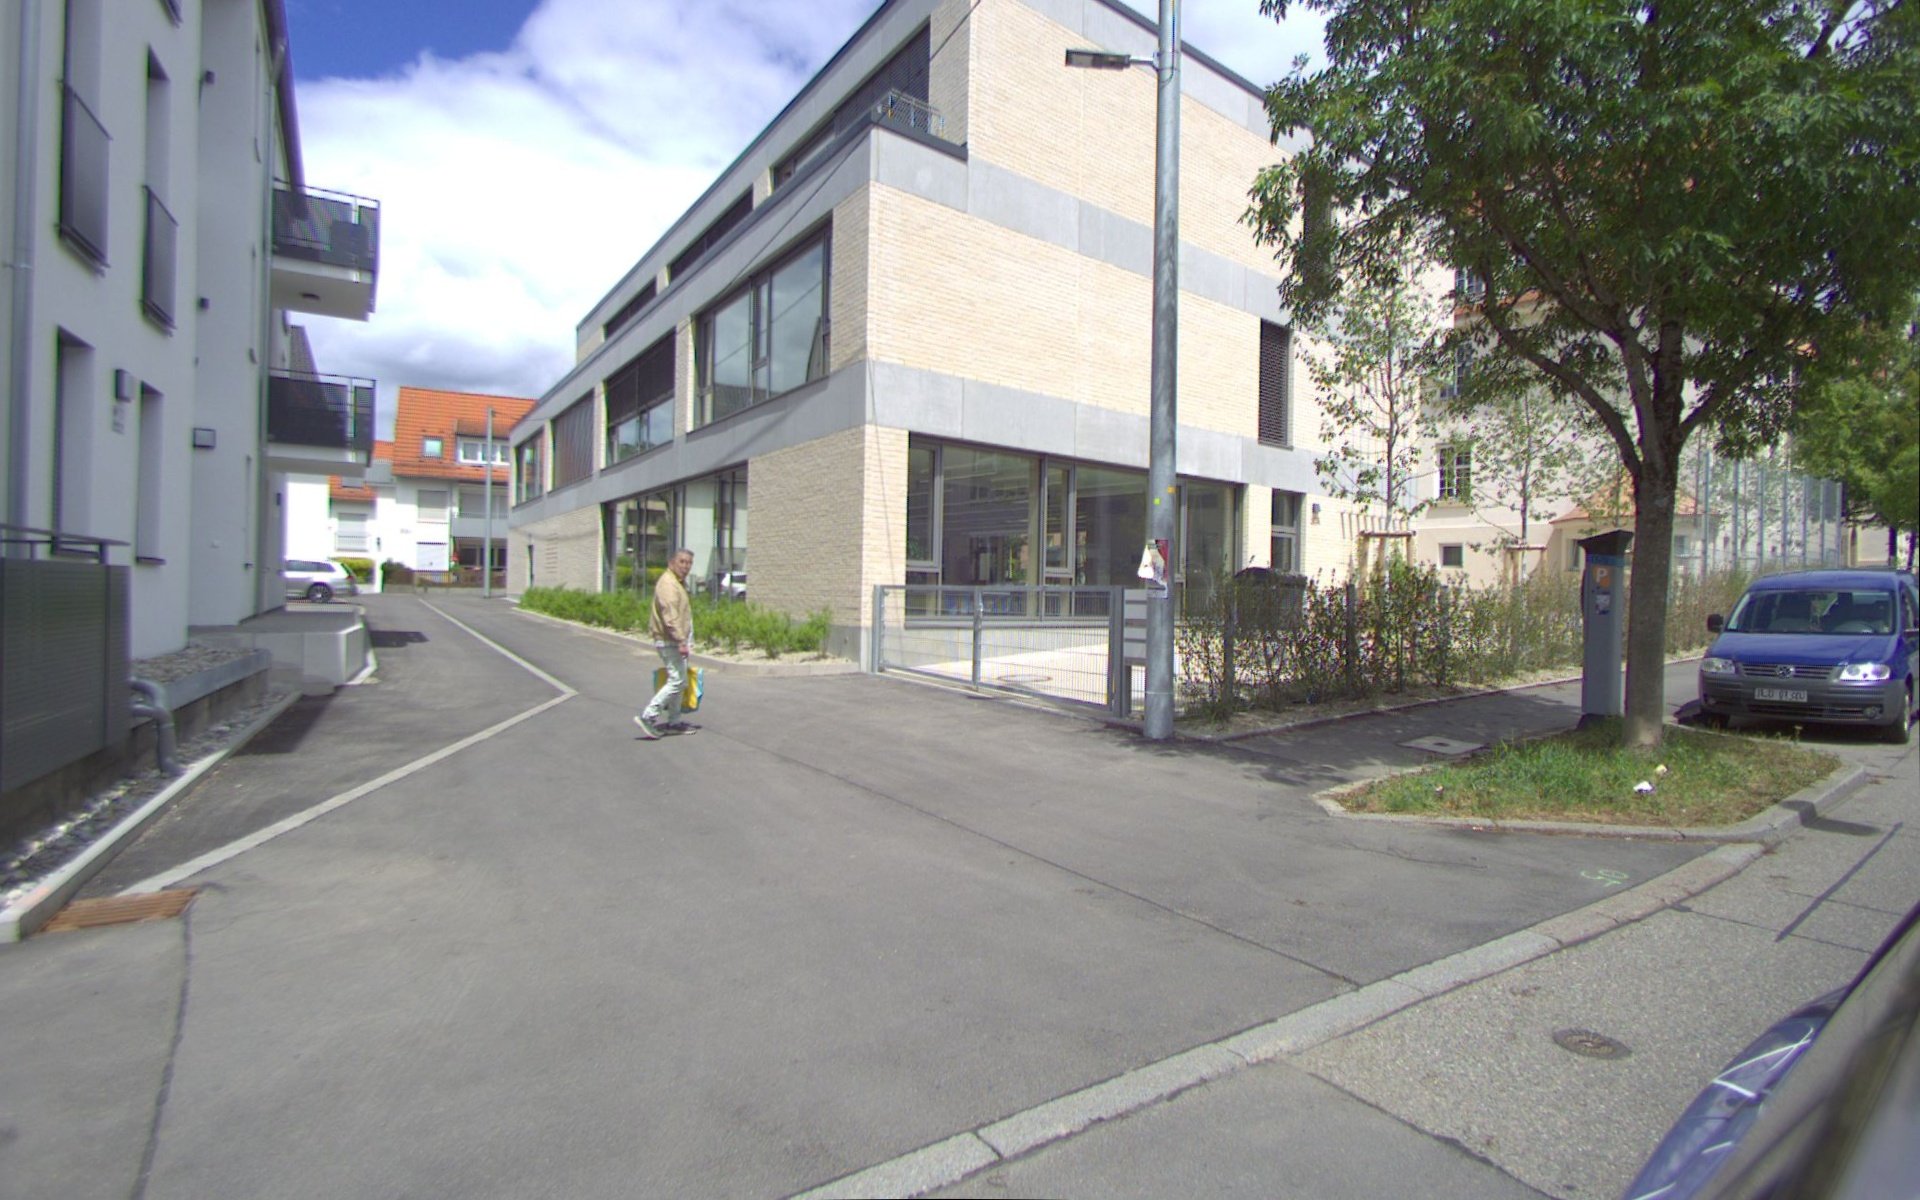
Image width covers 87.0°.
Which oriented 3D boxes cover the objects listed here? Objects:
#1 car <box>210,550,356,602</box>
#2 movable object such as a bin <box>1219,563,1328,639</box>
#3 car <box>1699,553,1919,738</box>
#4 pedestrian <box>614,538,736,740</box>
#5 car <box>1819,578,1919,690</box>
[{"bbox_3d":[-22.096,-0.772,33.205,3.857,1.524,1.700,1,0,-31],"label":"car"},{"bbox_3d":[6.344,0.011,20.482,1.774,1.465,1.351,0,0,-39],"label":"movable object such as a bin"},{"bbox_3d":[10.085,0.414,11.610,4.086,1.765,1.697,0,1,-41],"label":"car"},{"bbox_3d":[-2.592,0.325,9.195,0.815,1.725,0.774,0,0,-42],"label":"pedestrian"},{"bbox_3d":[14.363,0.454,15.202,3.605,1.538,1.676,0,1,-40],"label":"car"}]
